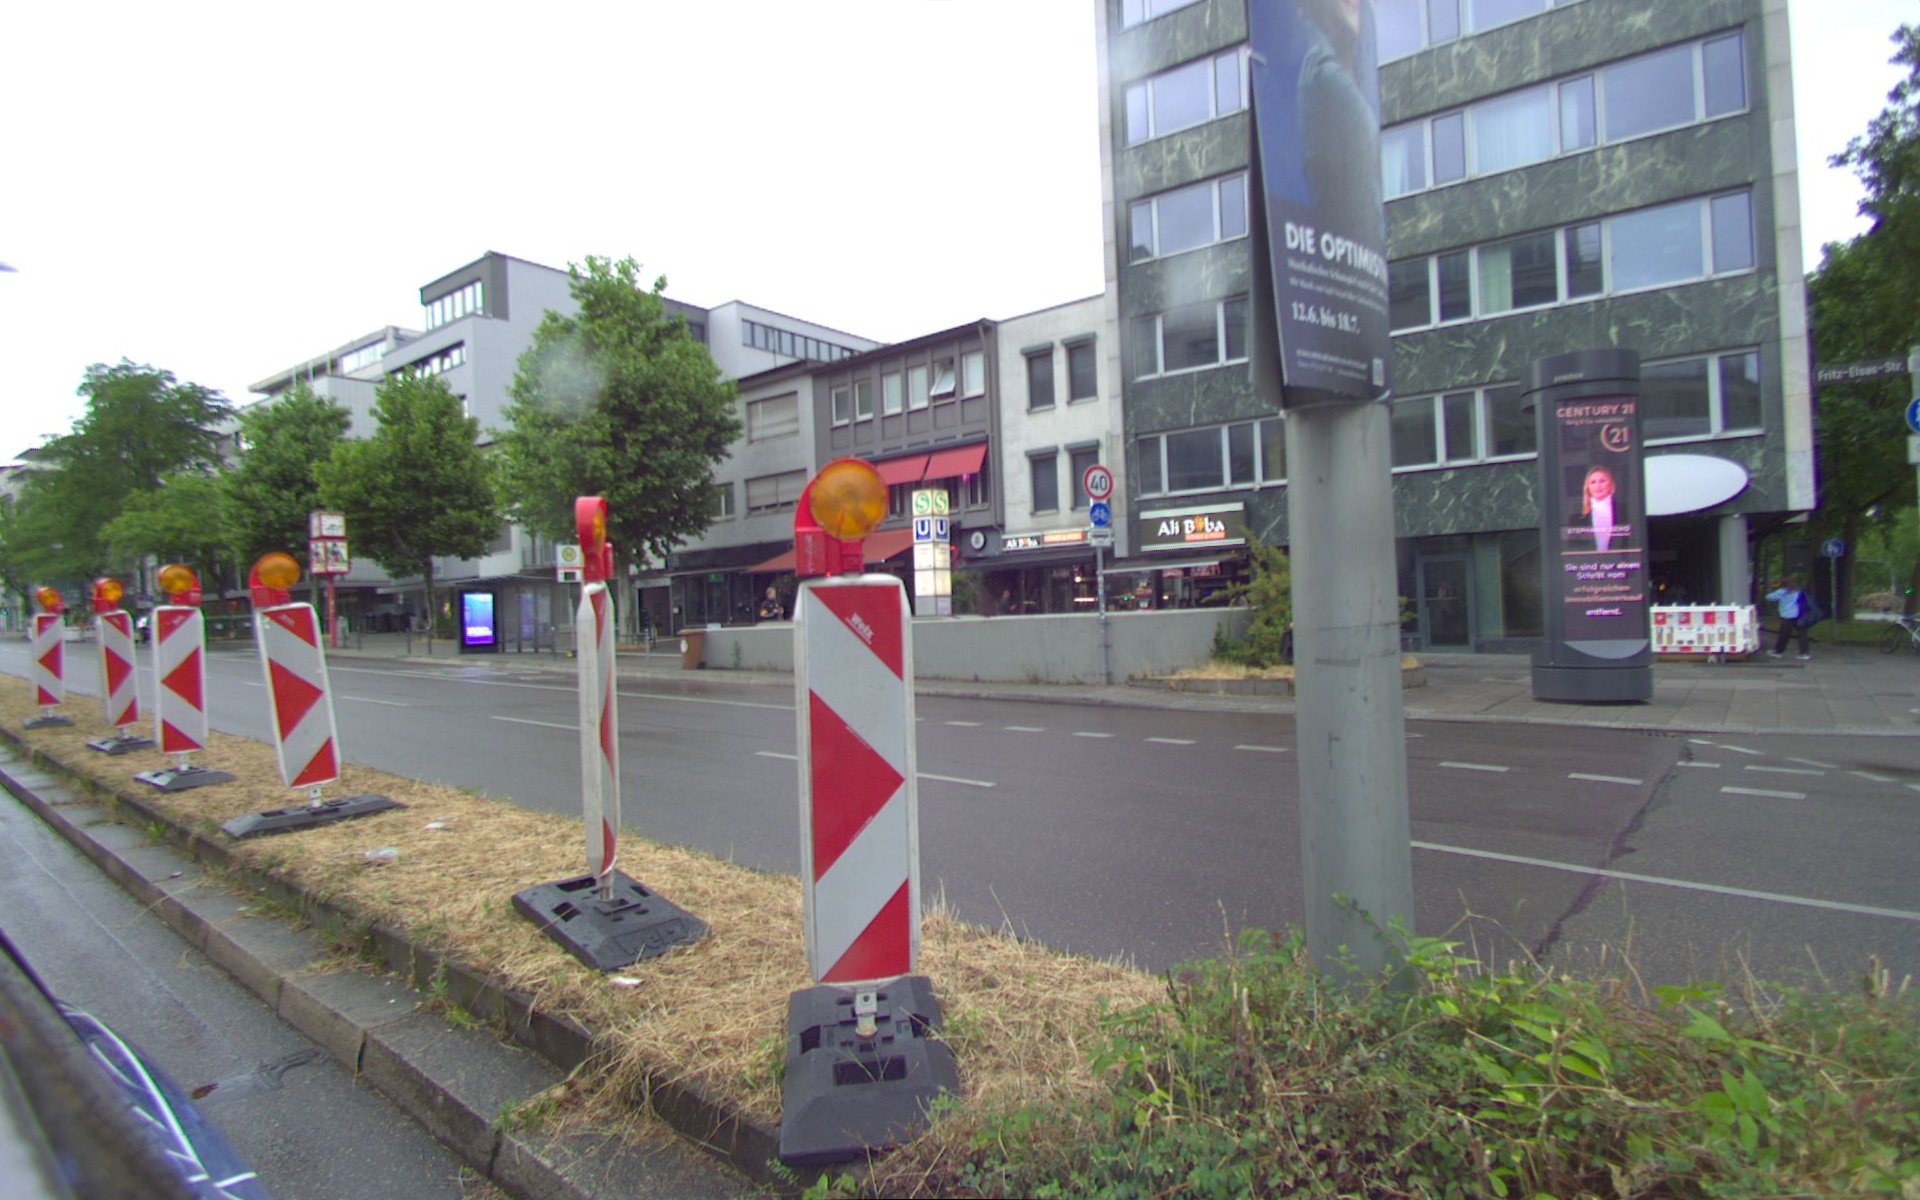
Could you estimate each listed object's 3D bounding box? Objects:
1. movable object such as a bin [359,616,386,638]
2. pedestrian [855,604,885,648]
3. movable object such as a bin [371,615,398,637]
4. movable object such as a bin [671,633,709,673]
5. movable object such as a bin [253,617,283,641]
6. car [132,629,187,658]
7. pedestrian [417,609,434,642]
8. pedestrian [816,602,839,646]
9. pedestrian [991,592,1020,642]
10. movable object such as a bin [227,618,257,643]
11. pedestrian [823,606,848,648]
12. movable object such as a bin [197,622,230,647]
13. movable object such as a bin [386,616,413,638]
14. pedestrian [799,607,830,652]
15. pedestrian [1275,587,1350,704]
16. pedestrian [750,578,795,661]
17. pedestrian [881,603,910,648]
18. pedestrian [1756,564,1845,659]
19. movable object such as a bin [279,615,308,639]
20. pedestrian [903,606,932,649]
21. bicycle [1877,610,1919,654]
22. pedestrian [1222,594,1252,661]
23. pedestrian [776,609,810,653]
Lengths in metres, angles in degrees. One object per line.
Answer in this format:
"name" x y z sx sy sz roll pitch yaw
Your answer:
"movable object such as a bin" -39.245 1.783 67.600 1.278 1.446 1.077 -1 -1 32
"pedestrian" -3.045 0.869 34.352 0.690 1.461 0.720 -2 -1 34
"movable object such as a bin" -37.959 1.700 66.744 1.278 1.446 1.077 -1 -1 32
"movable object such as a bin" -6.286 1.232 23.542 0.680 0.904 0.527 -1 -2 32
"movable object such as a bin" -42.499 1.763 62.142 1.088 1.437 1.265 -2 -1 41
"car" -48.106 2.635 60.792 4.019 1.648 1.761 -2 -1 38
"pedestrian" -29.493 1.390 55.829 0.653 1.776 0.688 -1 -1 43
"pedestrian" -4.883 0.879 37.318 0.603 1.582 0.591 -1 -1 31
"pedestrian" 1.354 0.498 30.078 0.587 1.461 0.597 -2 -1 36
"movable object such as a bin" -43.336 1.844 61.099 1.088 1.437 1.265 -2 -1 41
"pedestrian" -4.353 0.935 35.417 0.546 1.461 0.683 -2 -1 37
"movable object such as a bin" -44.245 2.045 60.004 1.088 1.437 1.345 -2 -1 41
"movable object such as a bin" -36.655 1.762 66.151 1.278 1.446 1.077 -1 -1 32
"pedestrian" -4.823 0.985 33.574 0.706 1.461 0.683 -2 -1 37
"pedestrian" 5.211 0.653 14.968 0.745 1.665 0.694 -1 -1 -25
"pedestrian" -4.366 0.450 23.557 0.757 1.899 0.683 -2 -1 37
"pedestrian" -2.111 0.845 33.325 0.690 1.461 0.627 -2 -1 34
"pedestrian" 17.030 0.256 20.533 0.864 1.868 1.025 2 -4 -4
"movable object such as a bin" -41.609 1.688 63.196 1.088 1.499 1.265 -2 -1 41
"pedestrian" -1.366 0.883 32.873 0.690 1.354 0.627 -2 -1 34
"bicycle" 20.850 0.674 21.627 0.468 0.941 1.803 0 -1 -39
"pedestrian" 7.905 0.775 28.852 0.590 1.899 0.749 -2 -1 34
"pedestrian" -5.653 1.041 34.191 0.912 1.461 0.683 -2 -1 37
